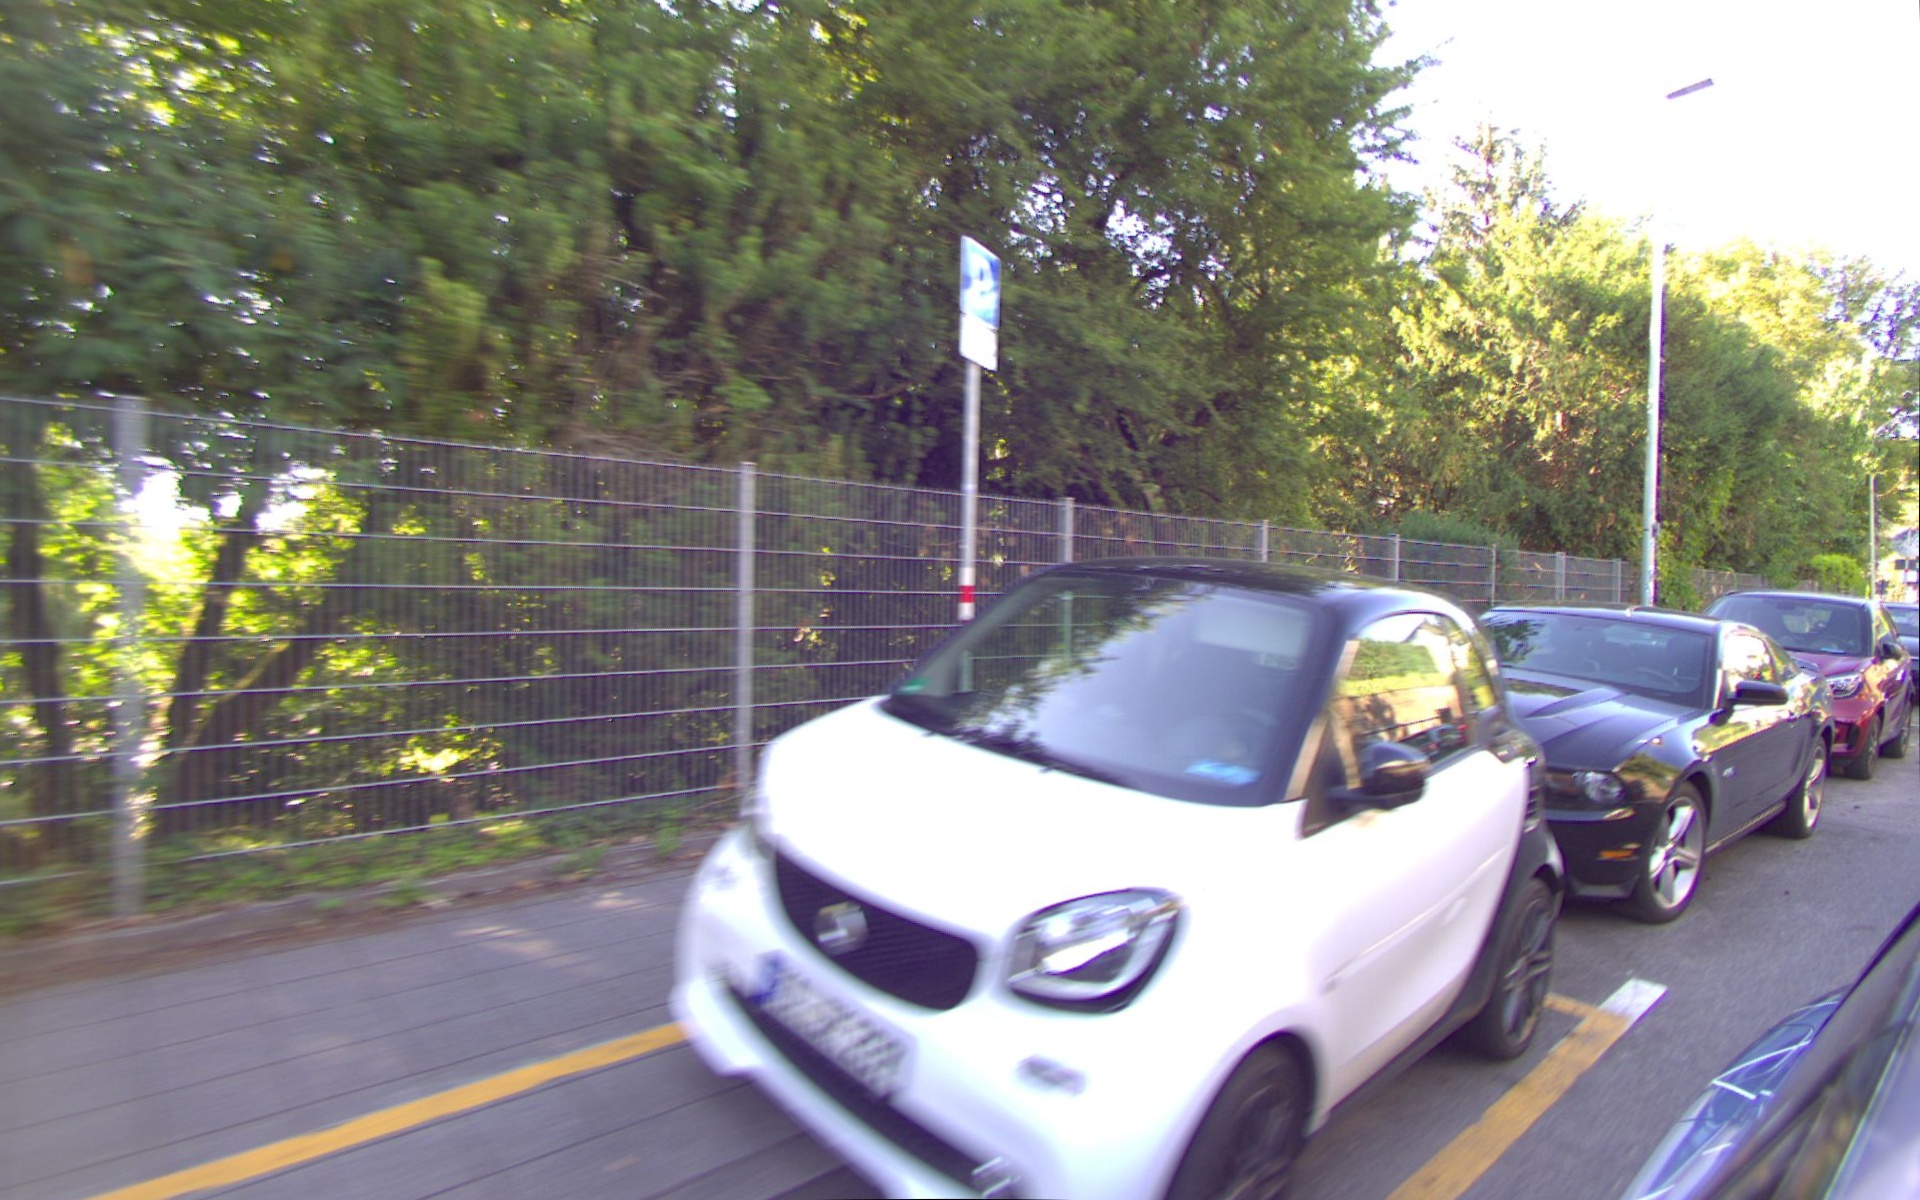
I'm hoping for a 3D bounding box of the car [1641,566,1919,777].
[{"bbox_3d":[8.045,0.550,9.694,2.821,1.582,1.658,0,6,-39],"label":"car"}]

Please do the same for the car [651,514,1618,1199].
[{"bbox_3d":[0.752,0.596,3.214,1.626,1.528,2.856,5,3,45],"label":"car"}]

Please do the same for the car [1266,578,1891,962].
[{"bbox_3d":[4.002,0.673,6.157,4.726,1.517,1.714,0,-1,-38],"label":"car"}]

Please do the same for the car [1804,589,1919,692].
[{"bbox_3d":[15.057,0.588,16.205,3.931,1.458,1.797,0,2,-42],"label":"car"}]
